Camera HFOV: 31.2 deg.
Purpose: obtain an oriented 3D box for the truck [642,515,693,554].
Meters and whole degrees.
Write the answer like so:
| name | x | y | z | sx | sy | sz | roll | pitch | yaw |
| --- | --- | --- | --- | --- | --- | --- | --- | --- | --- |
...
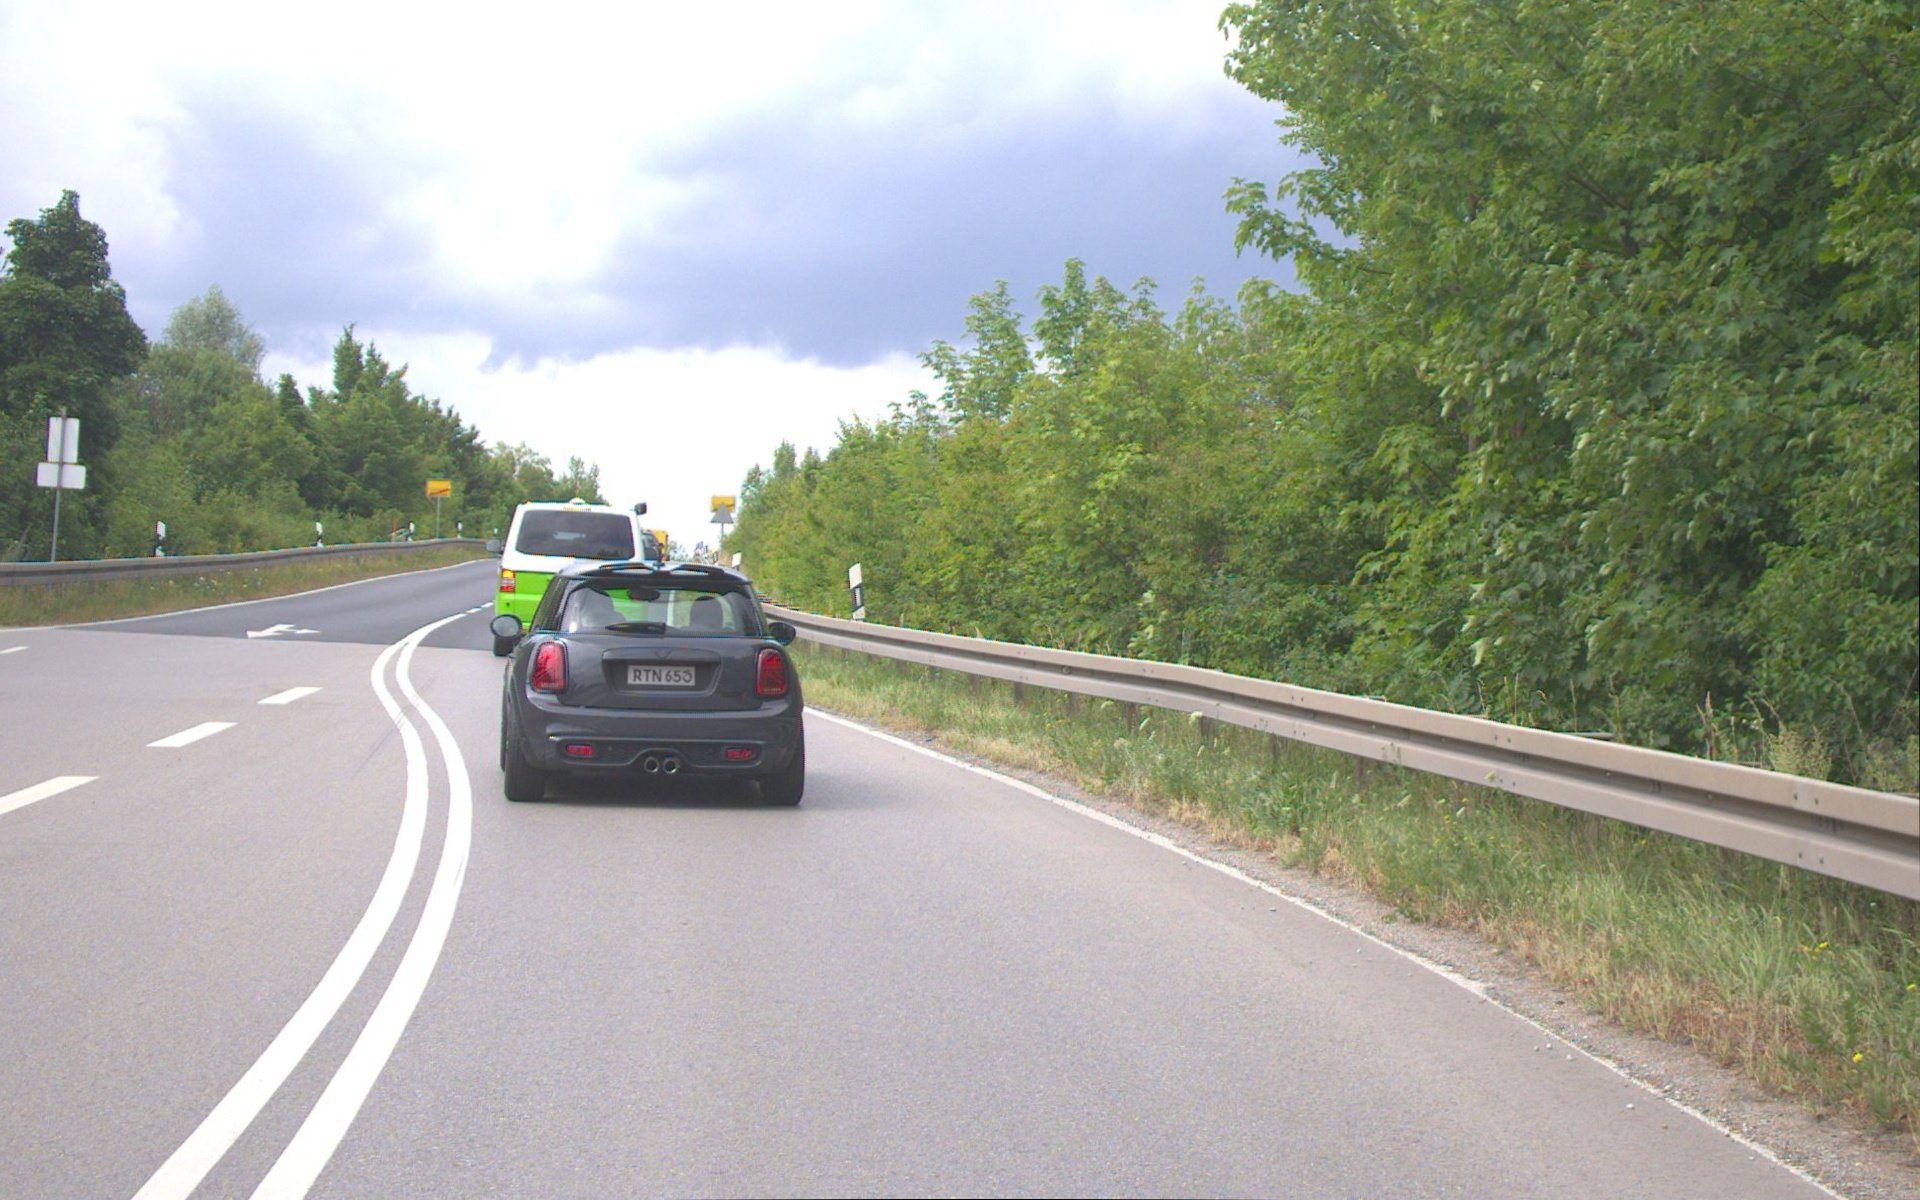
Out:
| name | x | y | z | sx | sy | sz | roll | pitch | yaw |
| --- | --- | --- | --- | --- | --- | --- | --- | --- | --- |
| truck | -18.262 | -4.127 | 214.972 | 2.909 | 2.364 | 10.453 | 1 | 1 | -4 |

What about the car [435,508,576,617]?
| name | x | y | z | sx | sy | sz | roll | pitch | yaw |
| --- | --- | --- | --- | --- | --- | --- | --- | --- | --- |
| car | -7.342 | -0.639 | 55.909 | 1.988 | 1.613 | 4.154 | 3 | 1 | -5 |

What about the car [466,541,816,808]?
| name | x | y | z | sx | sy | sz | roll | pitch | yaw |
| --- | --- | --- | --- | --- | --- | --- | --- | --- | --- |
| car | -2.076 | 0.392 | 21.368 | 1.731 | 1.451 | 4.001 | 1 | 1 | -11 |

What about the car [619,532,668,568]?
| name | x | y | z | sx | sy | sz | roll | pitch | yaw |
| --- | --- | --- | --- | --- | --- | --- | --- | --- | --- |
| car | -12.283 | -1.957 | 133.613 | 1.694 | 1.315 | 4.001 | 1 | 1 | -3 |

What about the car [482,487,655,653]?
| name | x | y | z | sx | sy | sz | roll | pitch | yaw |
| --- | --- | --- | --- | --- | --- | --- | --- | --- | --- |
| car | -5.029 | -0.406 | 43.733 | 2.022 | 2.006 | 4.001 | 0 | 1 | -9 |
